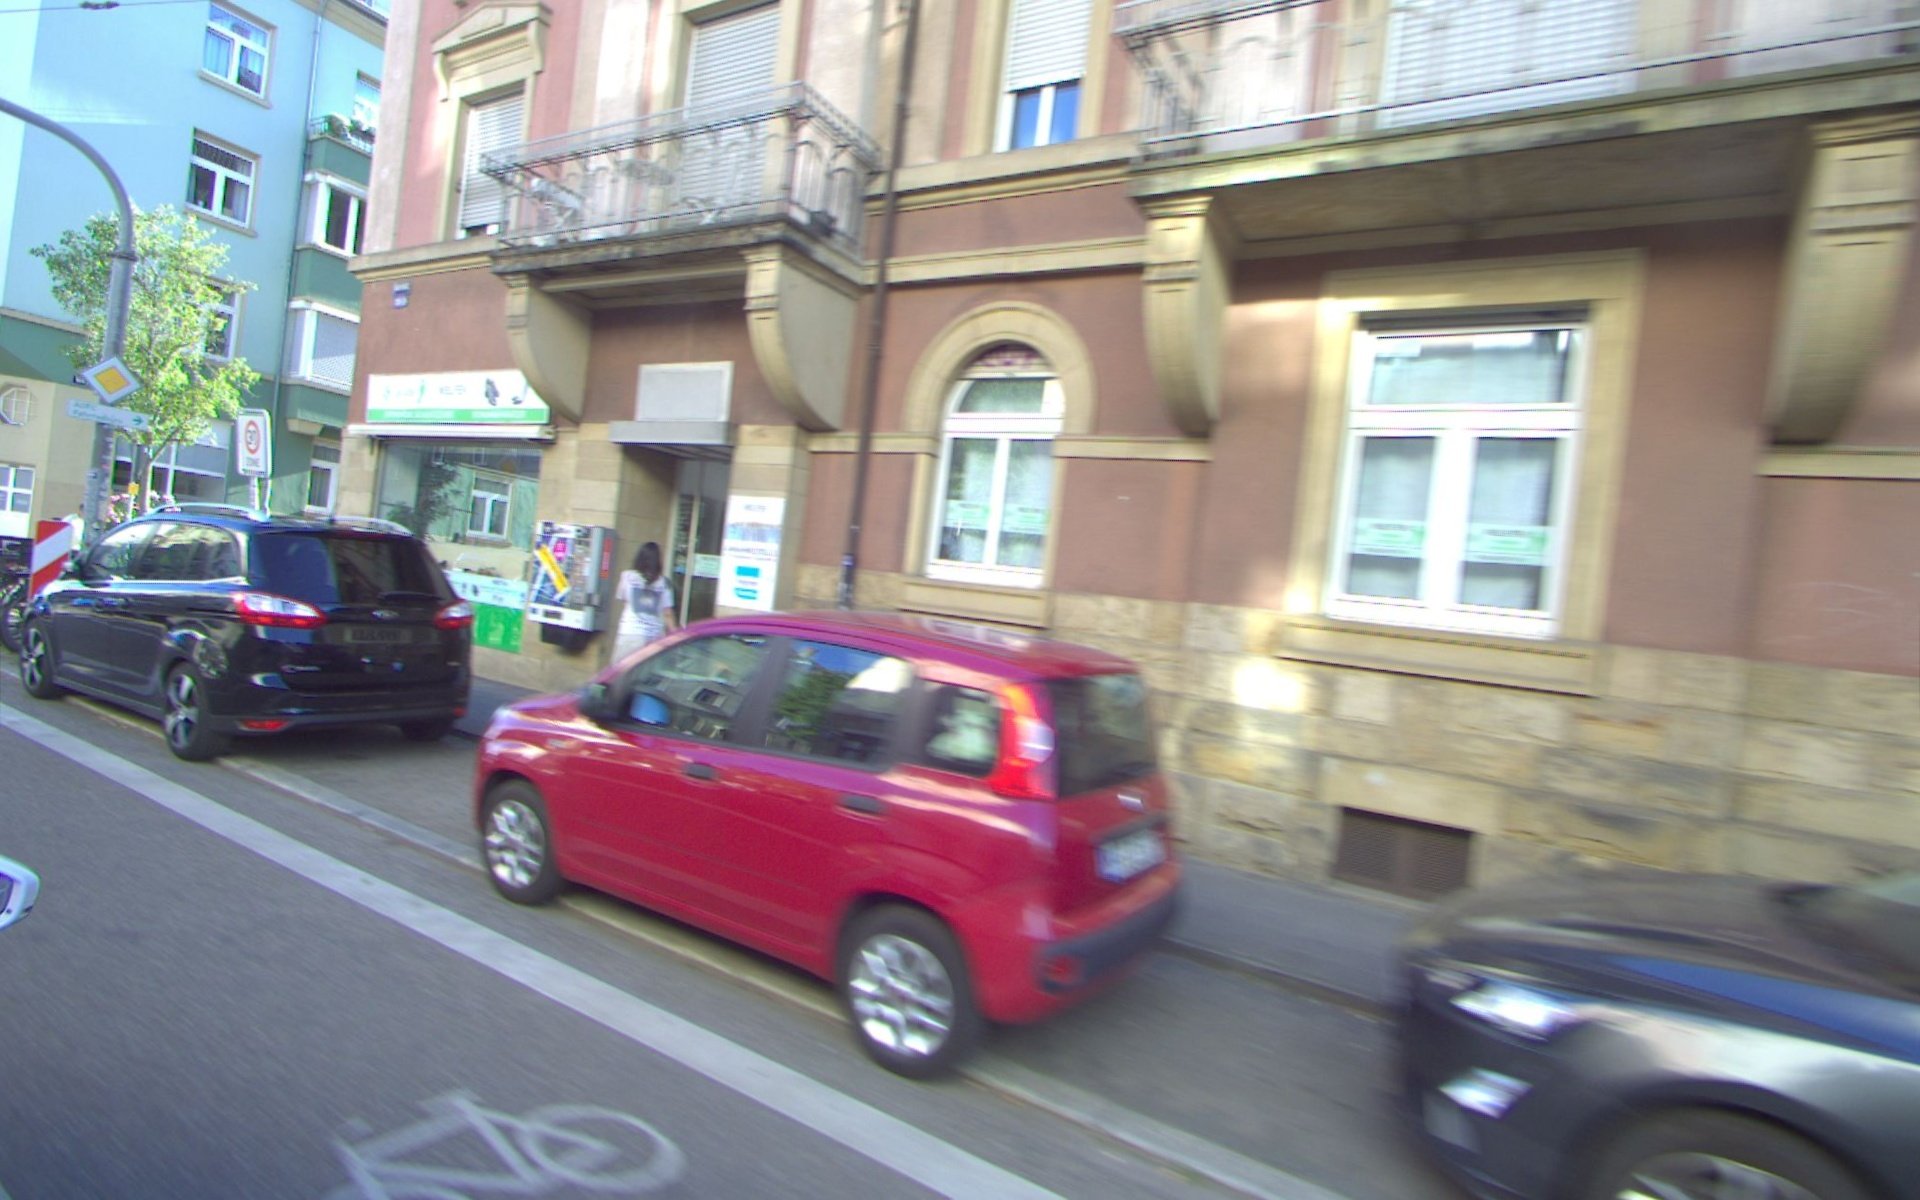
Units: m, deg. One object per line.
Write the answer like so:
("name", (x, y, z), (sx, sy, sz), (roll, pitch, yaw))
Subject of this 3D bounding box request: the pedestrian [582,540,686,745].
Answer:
("pedestrian", (-2.836, 0.372, 8.773), (0.440, 1.707, 0.514), (7, 0, 32))

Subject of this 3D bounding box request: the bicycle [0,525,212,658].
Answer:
("bicycle", (-9.050, -0.061, 10.420), (0.518, 1.242, 1.961), (7, 0, 32))

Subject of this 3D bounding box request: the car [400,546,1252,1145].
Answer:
("car", (-0.760, 0.775, 4.829), (3.669, 1.613, 1.755), (6, -1, 33))

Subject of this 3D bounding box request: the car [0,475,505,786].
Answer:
("car", (-5.780, 0.069, 7.980), (4.433, 1.759, 1.753), (6, 2, 33))

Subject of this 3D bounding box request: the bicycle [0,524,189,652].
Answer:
("bicycle", (-9.524, -0.113, 10.699), (0.518, 1.242, 1.961), (7, 0, 32))

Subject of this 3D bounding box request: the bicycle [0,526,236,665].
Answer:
("bicycle", (-8.574, -0.010, 10.125), (0.518, 1.242, 1.961), (7, 0, 32))

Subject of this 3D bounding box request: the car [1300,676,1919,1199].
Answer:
("car", (3.313, 1.255, 2.350), (4.400, 1.531, 1.657), (6, -1, 32))

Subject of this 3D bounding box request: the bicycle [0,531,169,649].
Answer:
("bicycle", (-9.990, -0.105, 11.035), (0.518, 1.175, 1.925), (7, 0, 32))

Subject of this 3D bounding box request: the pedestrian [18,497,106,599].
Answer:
("pedestrian", (-15.889, -0.902, 17.813), (0.690, 1.651, 0.733), (6, -3, 16))

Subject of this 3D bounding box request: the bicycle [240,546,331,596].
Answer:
("bicycle", (-17.580, -0.747, 26.265), (0.448, 1.076, 1.899), (7, -1, 29))
